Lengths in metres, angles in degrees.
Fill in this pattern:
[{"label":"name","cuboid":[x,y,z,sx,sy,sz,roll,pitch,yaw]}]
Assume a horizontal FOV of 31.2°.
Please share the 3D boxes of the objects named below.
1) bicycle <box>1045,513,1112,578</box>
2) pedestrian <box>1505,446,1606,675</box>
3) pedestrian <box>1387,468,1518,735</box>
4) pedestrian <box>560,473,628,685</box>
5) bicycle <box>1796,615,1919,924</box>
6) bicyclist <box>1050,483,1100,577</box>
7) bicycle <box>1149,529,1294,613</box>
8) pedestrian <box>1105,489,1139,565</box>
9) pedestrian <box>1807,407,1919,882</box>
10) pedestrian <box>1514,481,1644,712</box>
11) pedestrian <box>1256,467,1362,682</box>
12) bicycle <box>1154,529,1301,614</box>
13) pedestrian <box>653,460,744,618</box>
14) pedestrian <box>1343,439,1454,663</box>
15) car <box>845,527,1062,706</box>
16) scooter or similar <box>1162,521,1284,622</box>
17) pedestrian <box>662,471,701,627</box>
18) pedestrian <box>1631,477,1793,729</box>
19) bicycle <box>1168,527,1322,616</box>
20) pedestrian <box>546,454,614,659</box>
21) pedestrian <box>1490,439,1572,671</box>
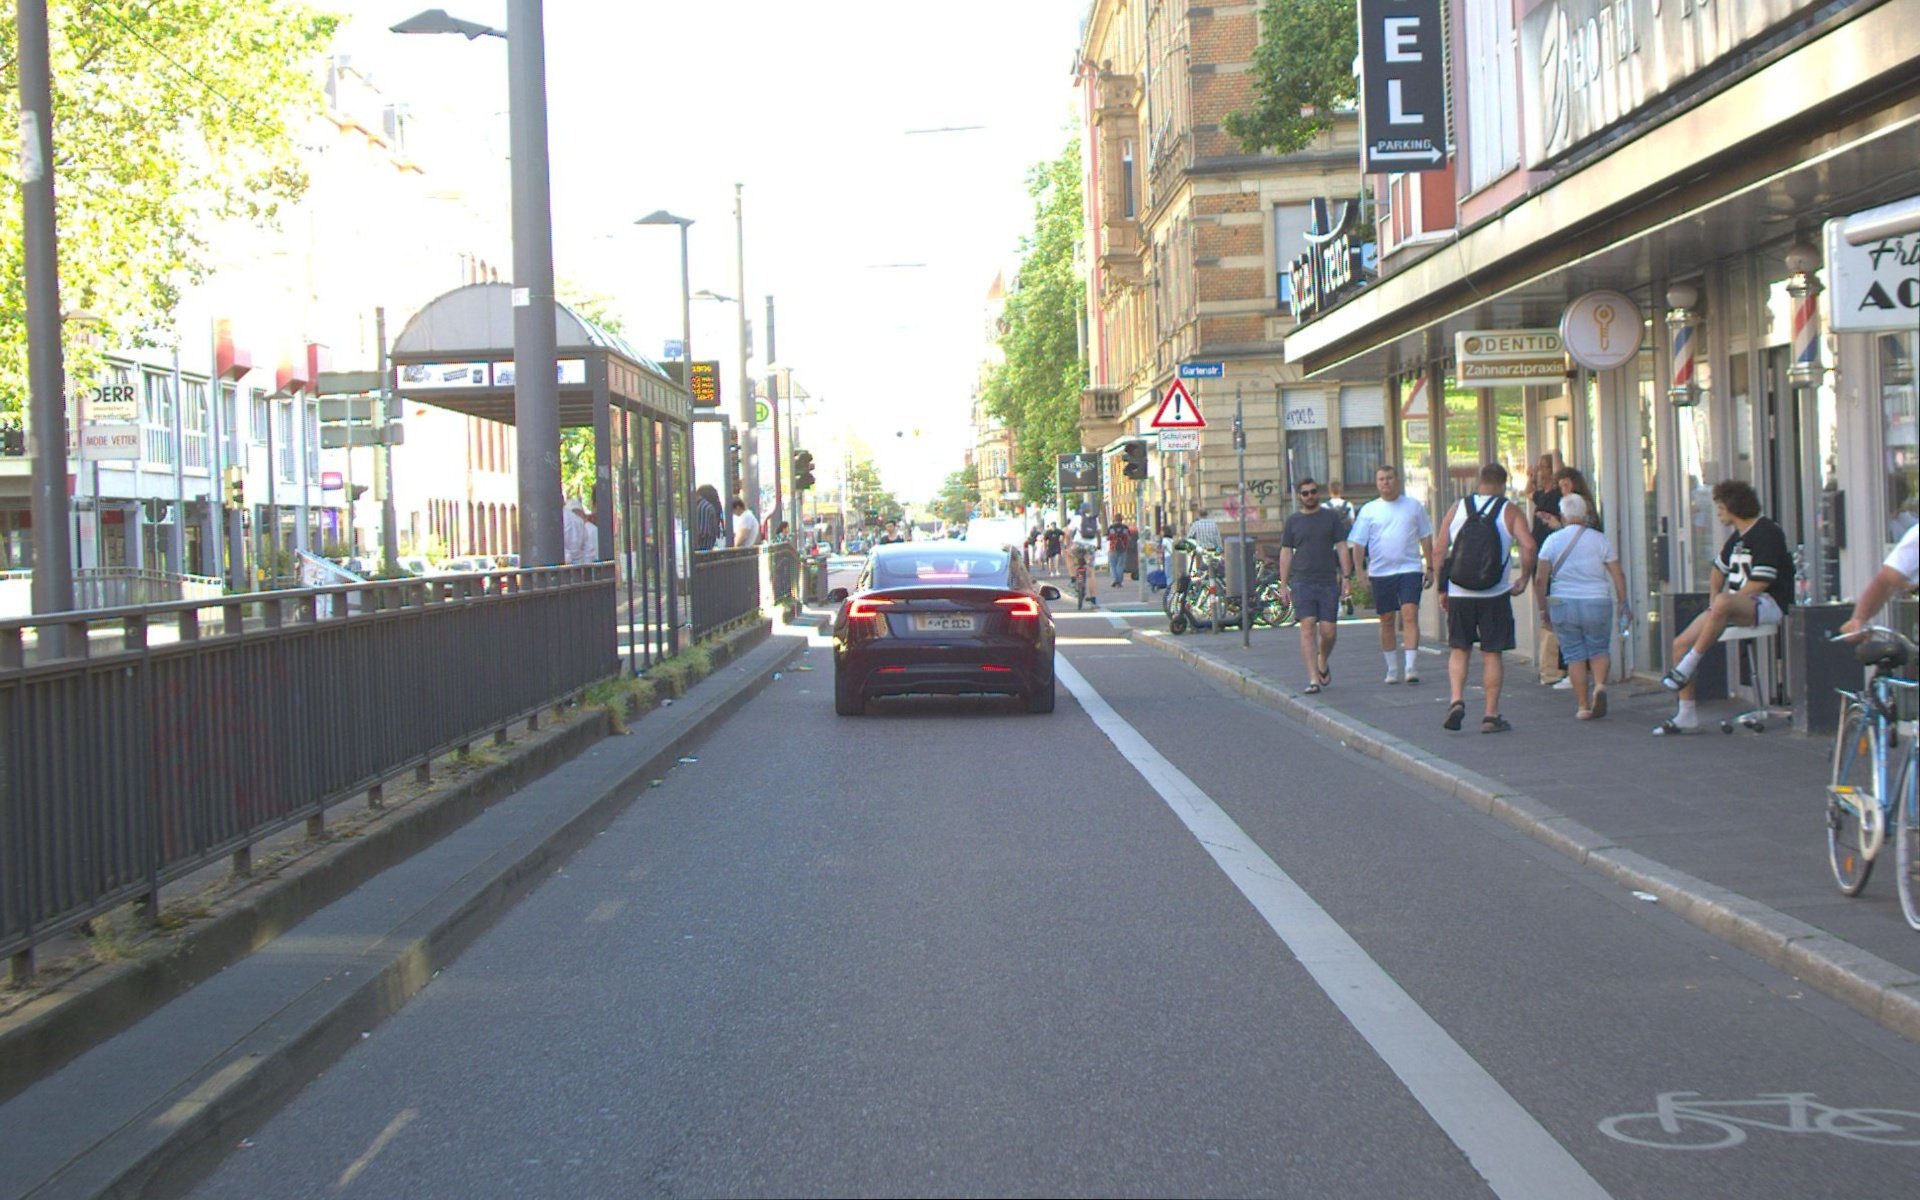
[{"label":"bicycle","cuboid":[2.090,-0.966,60.922,0.647,1.135,2.096,-1,1,-13]},{"label":"pedestrian","cuboid":[4.704,-0.313,27.192,0.629,1.763,0.501,-3,1,0]},{"label":"pedestrian","cuboid":[3.226,0.003,22.550,0.744,1.721,0.814,0,1,0]},{"label":"pedestrian","cuboid":[-2.753,-0.162,25.886,0.424,1.568,0.448,-1,1,0]},{"label":"bicycle","cuboid":[3.344,0.577,12.096,0.302,0.986,1.760,-3,1,-1]},{"label":"bicyclist","cuboid":[2.040,-1.235,61.081,0.655,1.650,0.927,-1,1,-13]},{"label":"bicycle","cuboid":[3.676,-0.412,48.415,1.945,1.103,0.564,-2,1,-2]},{"label":"pedestrian","cuboid":[3.781,-1.706,80.188,0.470,1.722,0.586,-1,2,36]},{"label":"pedestrian","cuboid":[3.480,0.127,12.182,0.663,1.625,0.705,-4,1,-1]},{"label":"pedestrian","cuboid":[4.136,-0.032,22.999,0.636,1.478,0.654,-4,1,-1]},{"label":"pedestrian","cuboid":[2.914,-0.216,28.758,0.667,1.722,0.810,-4,1,-1]},{"label":"bicycle","cuboid":[3.712,-0.403,47.767,1.945,1.103,0.564,-2,1,-2]},{"label":"pedestrian","cuboid":[-3.055,-0.707,40.110,0.770,1.825,0.804,-1,1,-30]},{"label":"pedestrian","cuboid":[3.684,-0.416,28.933,0.706,1.814,0.763,-4,1,0]},{"label":"car","cuboid":[-0.094,0.092,29.280,1.719,1.400,3.710,-1,1,-1]},{"label":"scooter or similar","cuboid":[3.445,-0.373,45.083,1.478,1.225,0.591,-4,1,0]},{"label":"pedestrian","cuboid":[-3.015,-0.555,37.233,0.351,1.663,0.529,-1,1,-2]},{"label":"pedestrian","cuboid":[4.606,0.012,21.091,0.738,1.467,0.707,-4,1,1]},{"label":"bicycle","cuboid":[3.787,-0.379,45.738,1.945,1.103,0.564,-2,1,-2]},{"label":"pedestrian","cuboid":[-2.959,-0.341,26.806,0.424,1.568,0.592,-1,1,0]},{"label":"pedestrian","cuboid":[4.633,-0.370,27.926,0.451,1.843,0.812,-3,1,0]}]
